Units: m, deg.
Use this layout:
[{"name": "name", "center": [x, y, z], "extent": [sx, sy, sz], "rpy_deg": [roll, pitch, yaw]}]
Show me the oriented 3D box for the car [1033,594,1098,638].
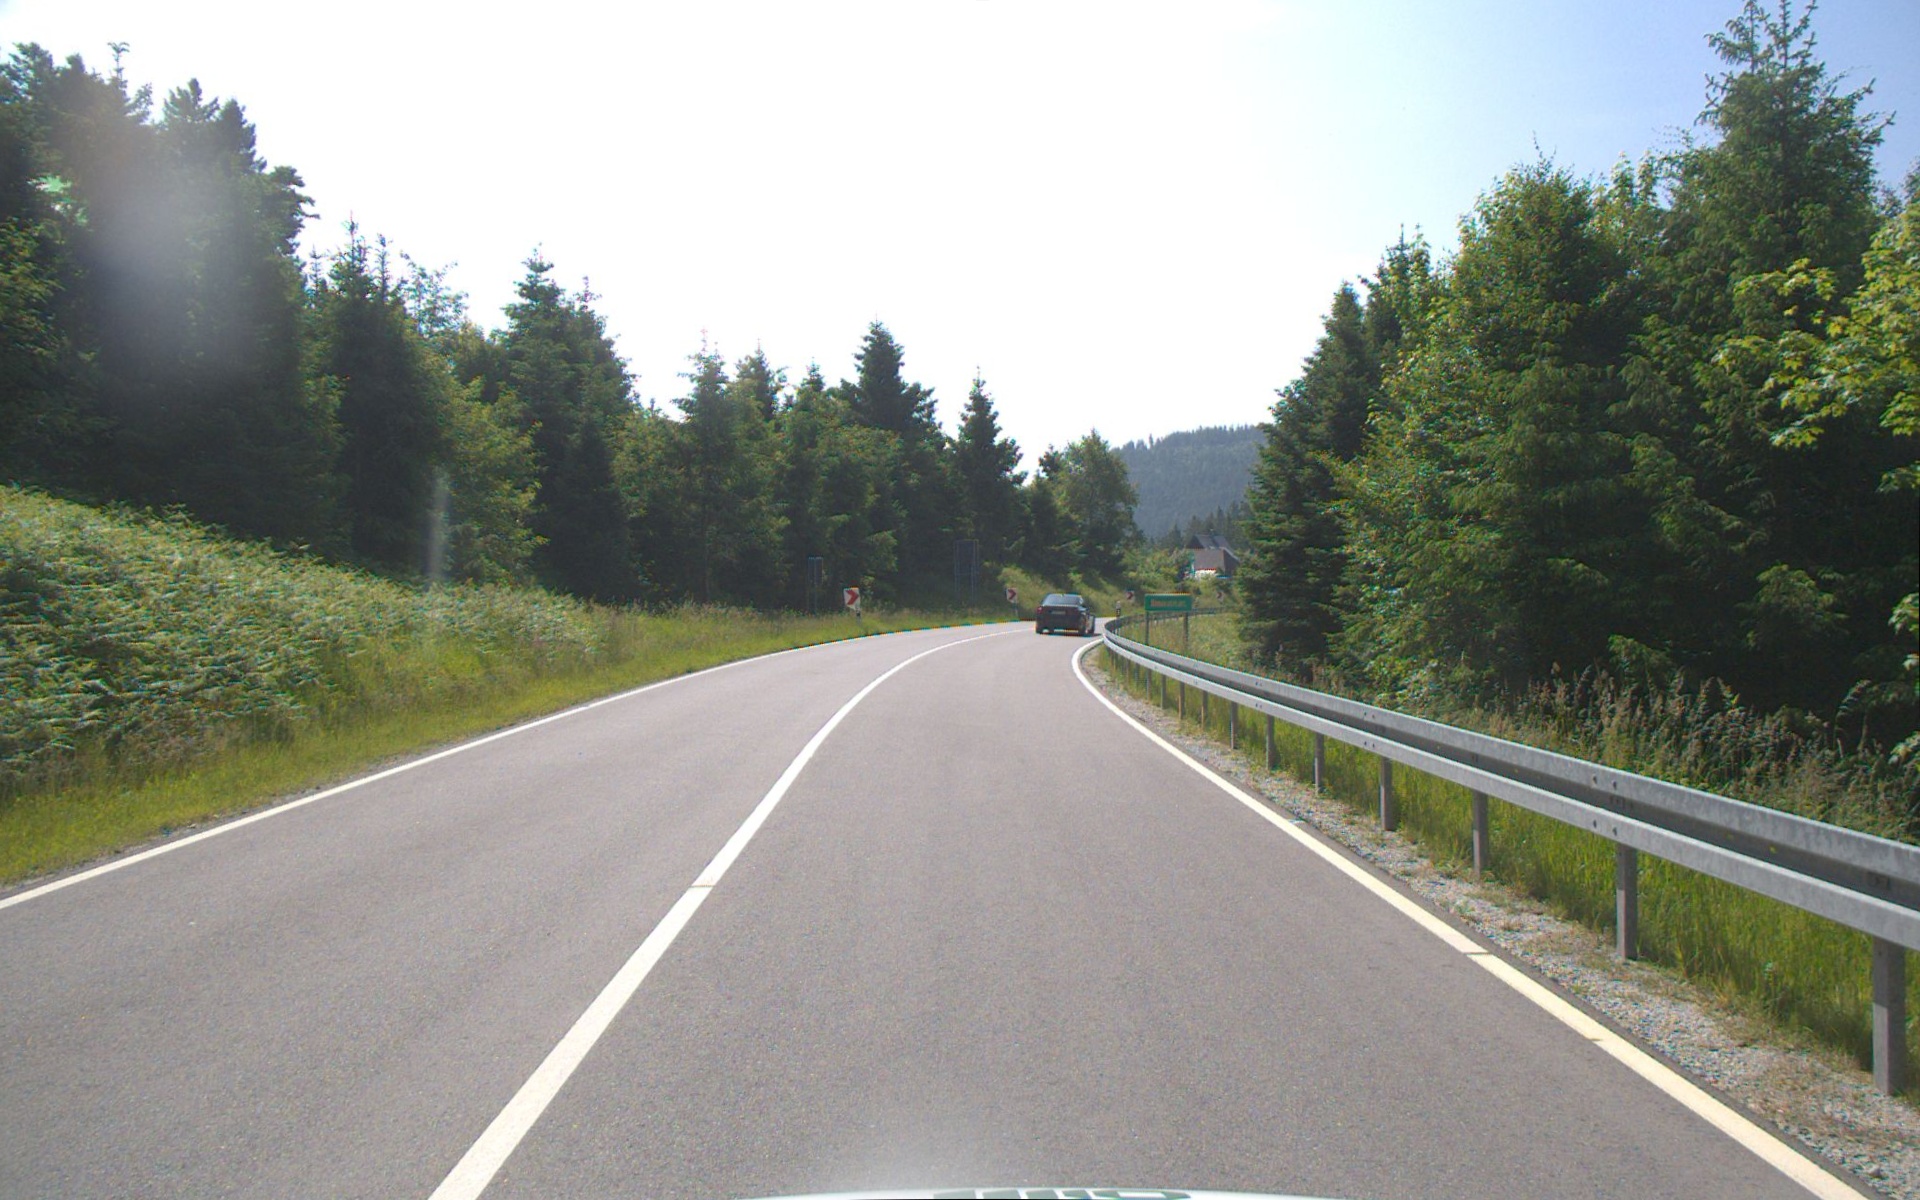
[{"name": "car", "center": [3.835, 0.554, 59.671], "extent": [1.738, 1.467, 3.712], "rpy_deg": [1, 1, 13]}]
